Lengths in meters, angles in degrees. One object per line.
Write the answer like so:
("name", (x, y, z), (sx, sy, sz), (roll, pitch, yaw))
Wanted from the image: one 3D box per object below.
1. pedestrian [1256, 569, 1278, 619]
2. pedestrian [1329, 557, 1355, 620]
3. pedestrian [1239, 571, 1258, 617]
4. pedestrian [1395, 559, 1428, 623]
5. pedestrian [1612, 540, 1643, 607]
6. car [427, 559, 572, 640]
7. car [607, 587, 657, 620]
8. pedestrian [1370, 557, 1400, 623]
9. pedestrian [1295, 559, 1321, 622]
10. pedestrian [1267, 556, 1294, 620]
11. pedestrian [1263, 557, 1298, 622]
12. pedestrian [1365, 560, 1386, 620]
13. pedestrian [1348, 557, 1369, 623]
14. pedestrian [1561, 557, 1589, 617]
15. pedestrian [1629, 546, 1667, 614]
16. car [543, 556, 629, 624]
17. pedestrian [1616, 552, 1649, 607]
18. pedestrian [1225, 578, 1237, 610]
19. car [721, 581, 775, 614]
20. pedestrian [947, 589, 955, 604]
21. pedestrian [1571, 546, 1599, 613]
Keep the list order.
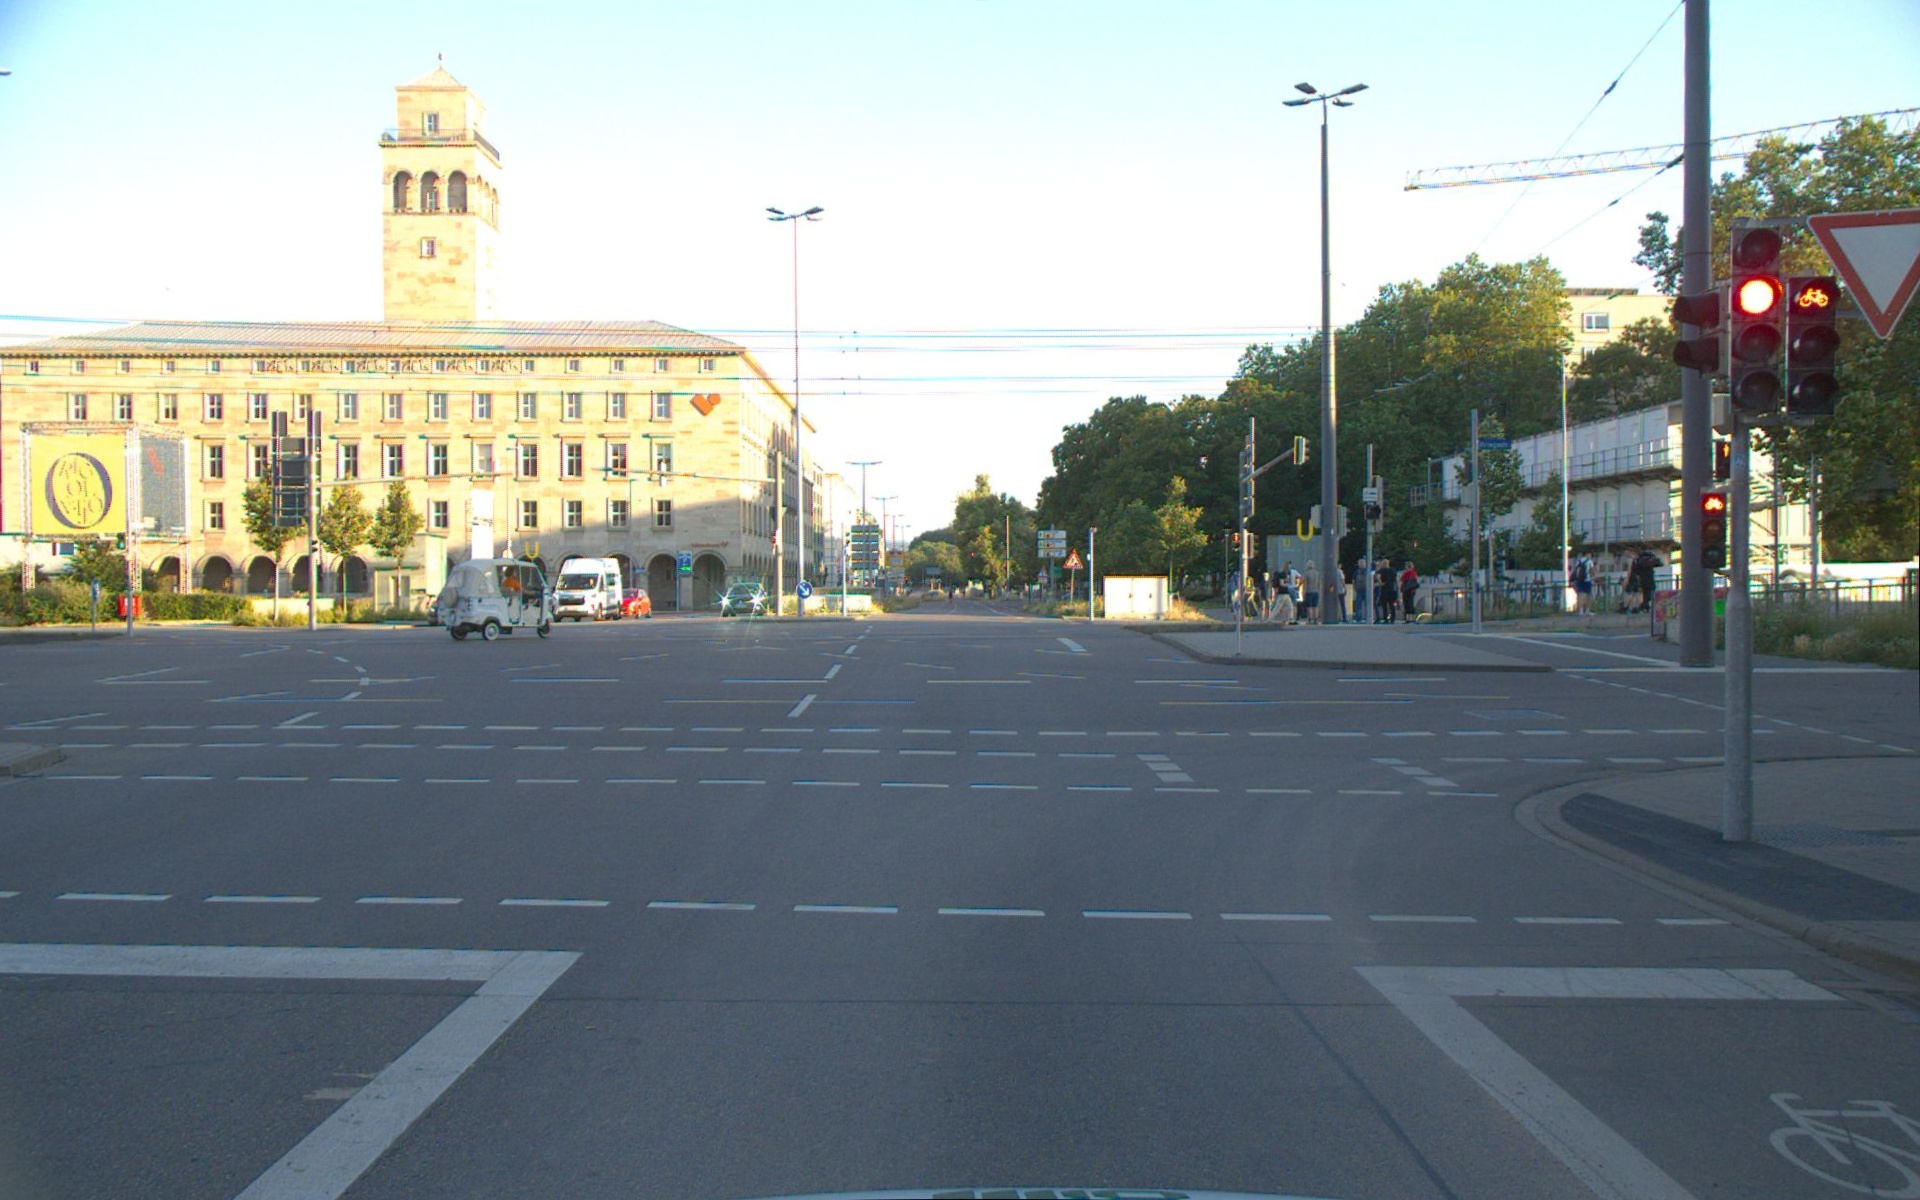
("pedestrian", (11.278, -0.230, 60.697), (0.665, 1.788, 0.902), (0, 1, 20))
("pedestrian", (10.768, -0.336, 46.676), (0.695, 1.755, 0.916), (0, 1, 12))
("pedestrian", (10.617, -0.225, 60.861), (0.548, 1.683, 0.902), (0, 1, 20))
("pedestrian", (12.607, -0.260, 46.198), (0.826, 1.764, 0.706), (0, 1, 11))
("pedestrian", (17.634, -0.687, 43.722), (0.696, 1.755, 0.669), (0, 1, 16))
("car", (-10.199, -0.029, 36.795), (1.455, 1.725, 2.970), (0, 1, 28))
("car", (-16.024, 0.136, 80.933), (1.703, 1.513, 4.000), (-1, 1, -1))
("pedestrian", (11.774, -0.275, 45.821), (0.788, 1.822, 0.801), (0, 1, 13))
("pedestrian", (9.636, -0.266, 45.826), (0.695, 1.755, 0.669), (0, 1, 13))
("pedestrian", (8.924, -0.334, 45.972), (0.695, 1.755, 0.669), (0, 1, 14))
("pedestrian", (8.763, -0.282, 45.211), (0.892, 1.755, 0.714), (0, 1, 15))
("pedestrian", (11.887, -0.280, 47.305), (0.560, 1.708, 0.639), (0, 1, 13))
("pedestrian", (11.035, -0.287, 45.797), (0.560, 1.822, 0.639), (0, 1, 13))
("pedestrian", (16.801, -0.366, 45.178), (0.559, 1.620, 0.536), (-1, 0, -1))
("pedestrian", (17.920, -0.523, 43.082), (0.653, 1.755, 0.712), (-1, 1, -7))
("car", (-16.245, -0.468, 72.231), (2.232, 2.824, 6.085), (-1, 1, 1))
("pedestrian", (18.044, -0.557, 44.385), (0.661, 1.466, 0.715), (-1, 0, 7))
("pedestrian", (14.951, -0.336, 91.335), (0.628, 1.791, 0.525), (0, 1, 7))
("car", (-9.256, -0.130, 72.486), (1.785, 1.365, 4.001), (0, 1, 1))
("pedestrian", (-1.112, -0.403, 194.900), (0.888, 1.700, 1.306), (-1, 1, -2))
("pedestrian", (16.711, -0.544, 44.224), (0.652, 1.755, 0.713), (0, 1, 17))
